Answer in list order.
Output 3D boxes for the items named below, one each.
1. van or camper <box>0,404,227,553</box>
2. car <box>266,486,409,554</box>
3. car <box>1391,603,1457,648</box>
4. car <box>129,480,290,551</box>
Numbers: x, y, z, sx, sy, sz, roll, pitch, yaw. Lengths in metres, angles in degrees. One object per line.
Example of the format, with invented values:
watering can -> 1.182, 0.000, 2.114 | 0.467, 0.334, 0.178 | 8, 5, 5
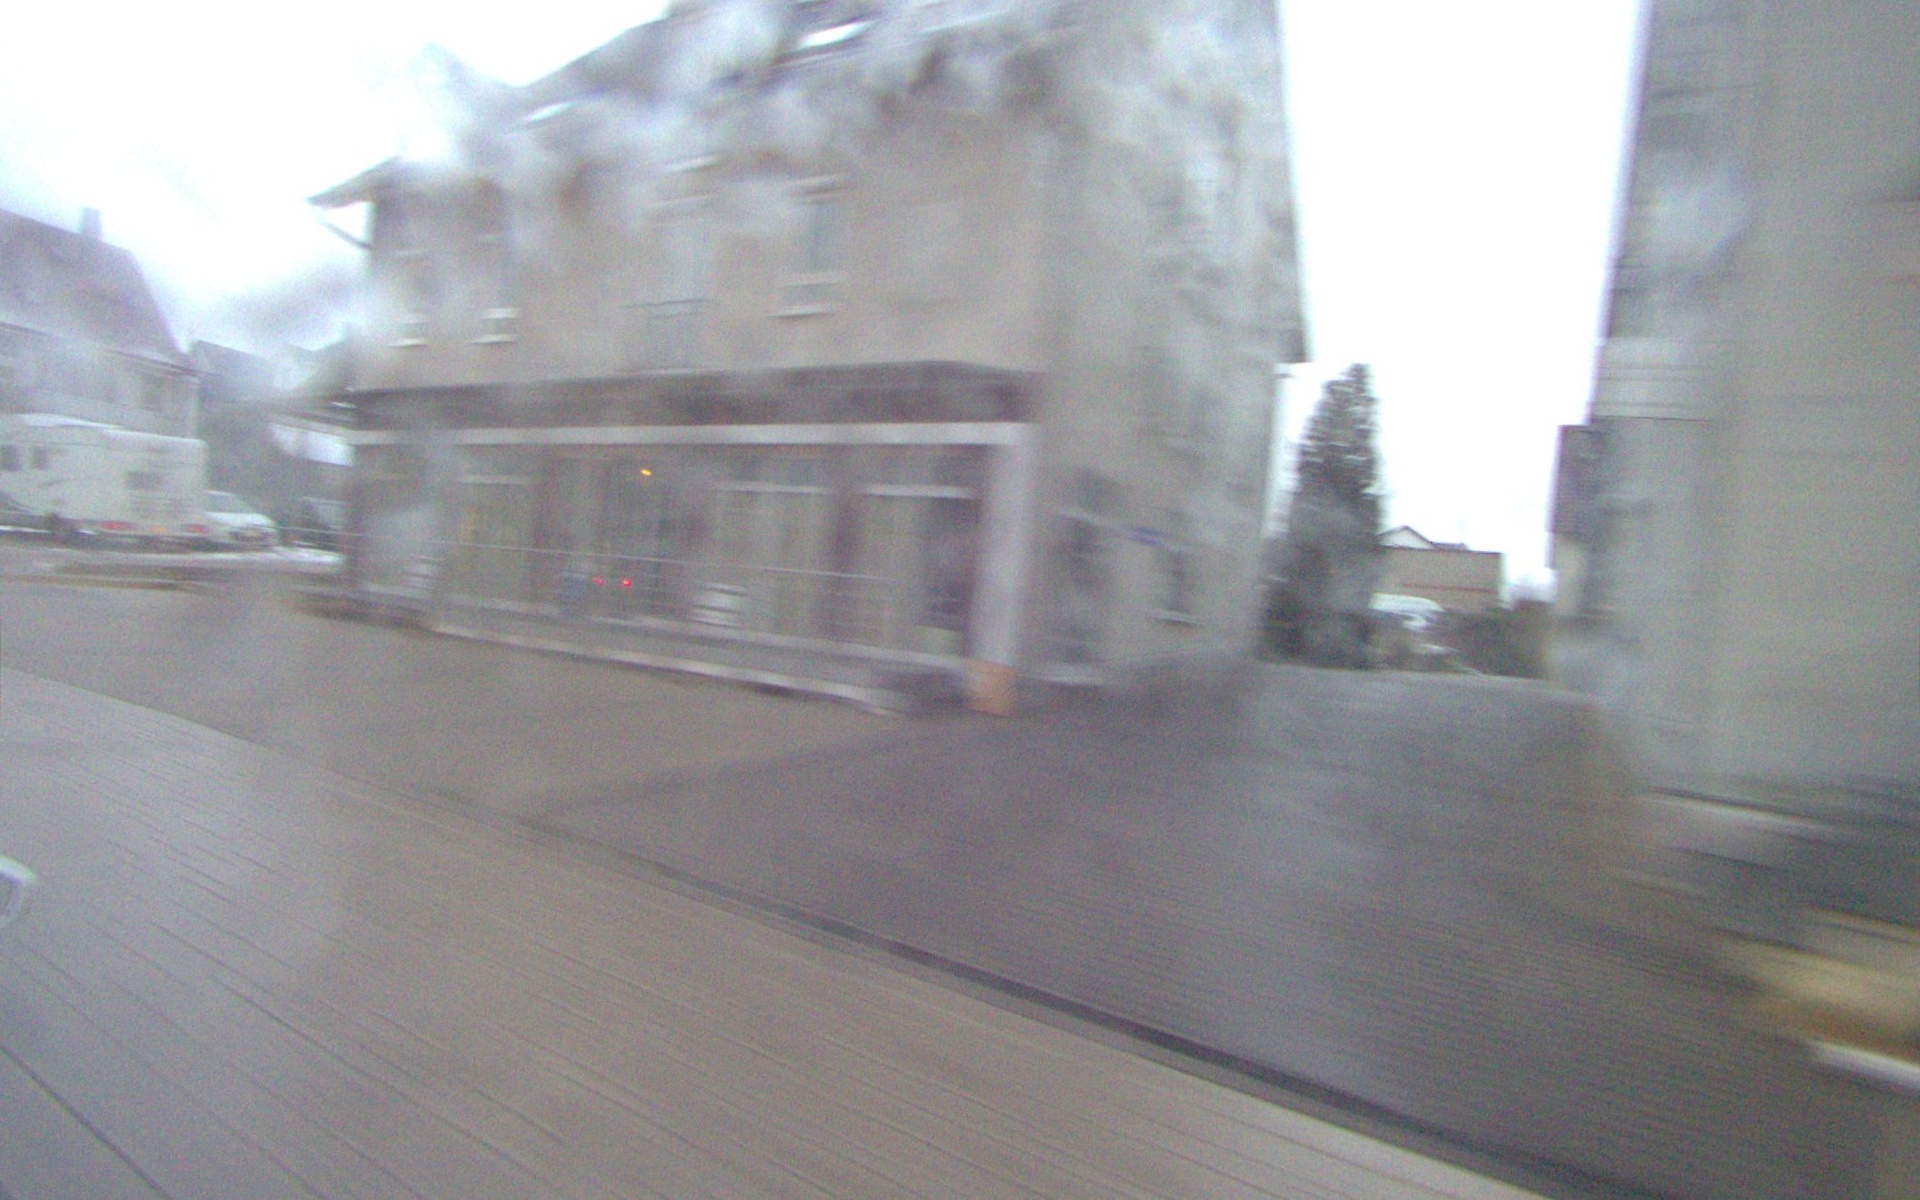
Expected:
van or camper -> -21.921, -3.065, 25.012 | 6.608, 3.090, 2.655 | 6, 4, 19
car -> -18.518, -2.391, 29.922 | 3.932, 1.629, 1.993 | 7, 4, 30
car -> 23.237, 1.290, 50.282 | 1.971, 1.778, 3.986 | 6, -2, 39
car -> -20.057, -2.256, 26.888 | 3.928, 1.577, 1.788 | 7, 6, 24
